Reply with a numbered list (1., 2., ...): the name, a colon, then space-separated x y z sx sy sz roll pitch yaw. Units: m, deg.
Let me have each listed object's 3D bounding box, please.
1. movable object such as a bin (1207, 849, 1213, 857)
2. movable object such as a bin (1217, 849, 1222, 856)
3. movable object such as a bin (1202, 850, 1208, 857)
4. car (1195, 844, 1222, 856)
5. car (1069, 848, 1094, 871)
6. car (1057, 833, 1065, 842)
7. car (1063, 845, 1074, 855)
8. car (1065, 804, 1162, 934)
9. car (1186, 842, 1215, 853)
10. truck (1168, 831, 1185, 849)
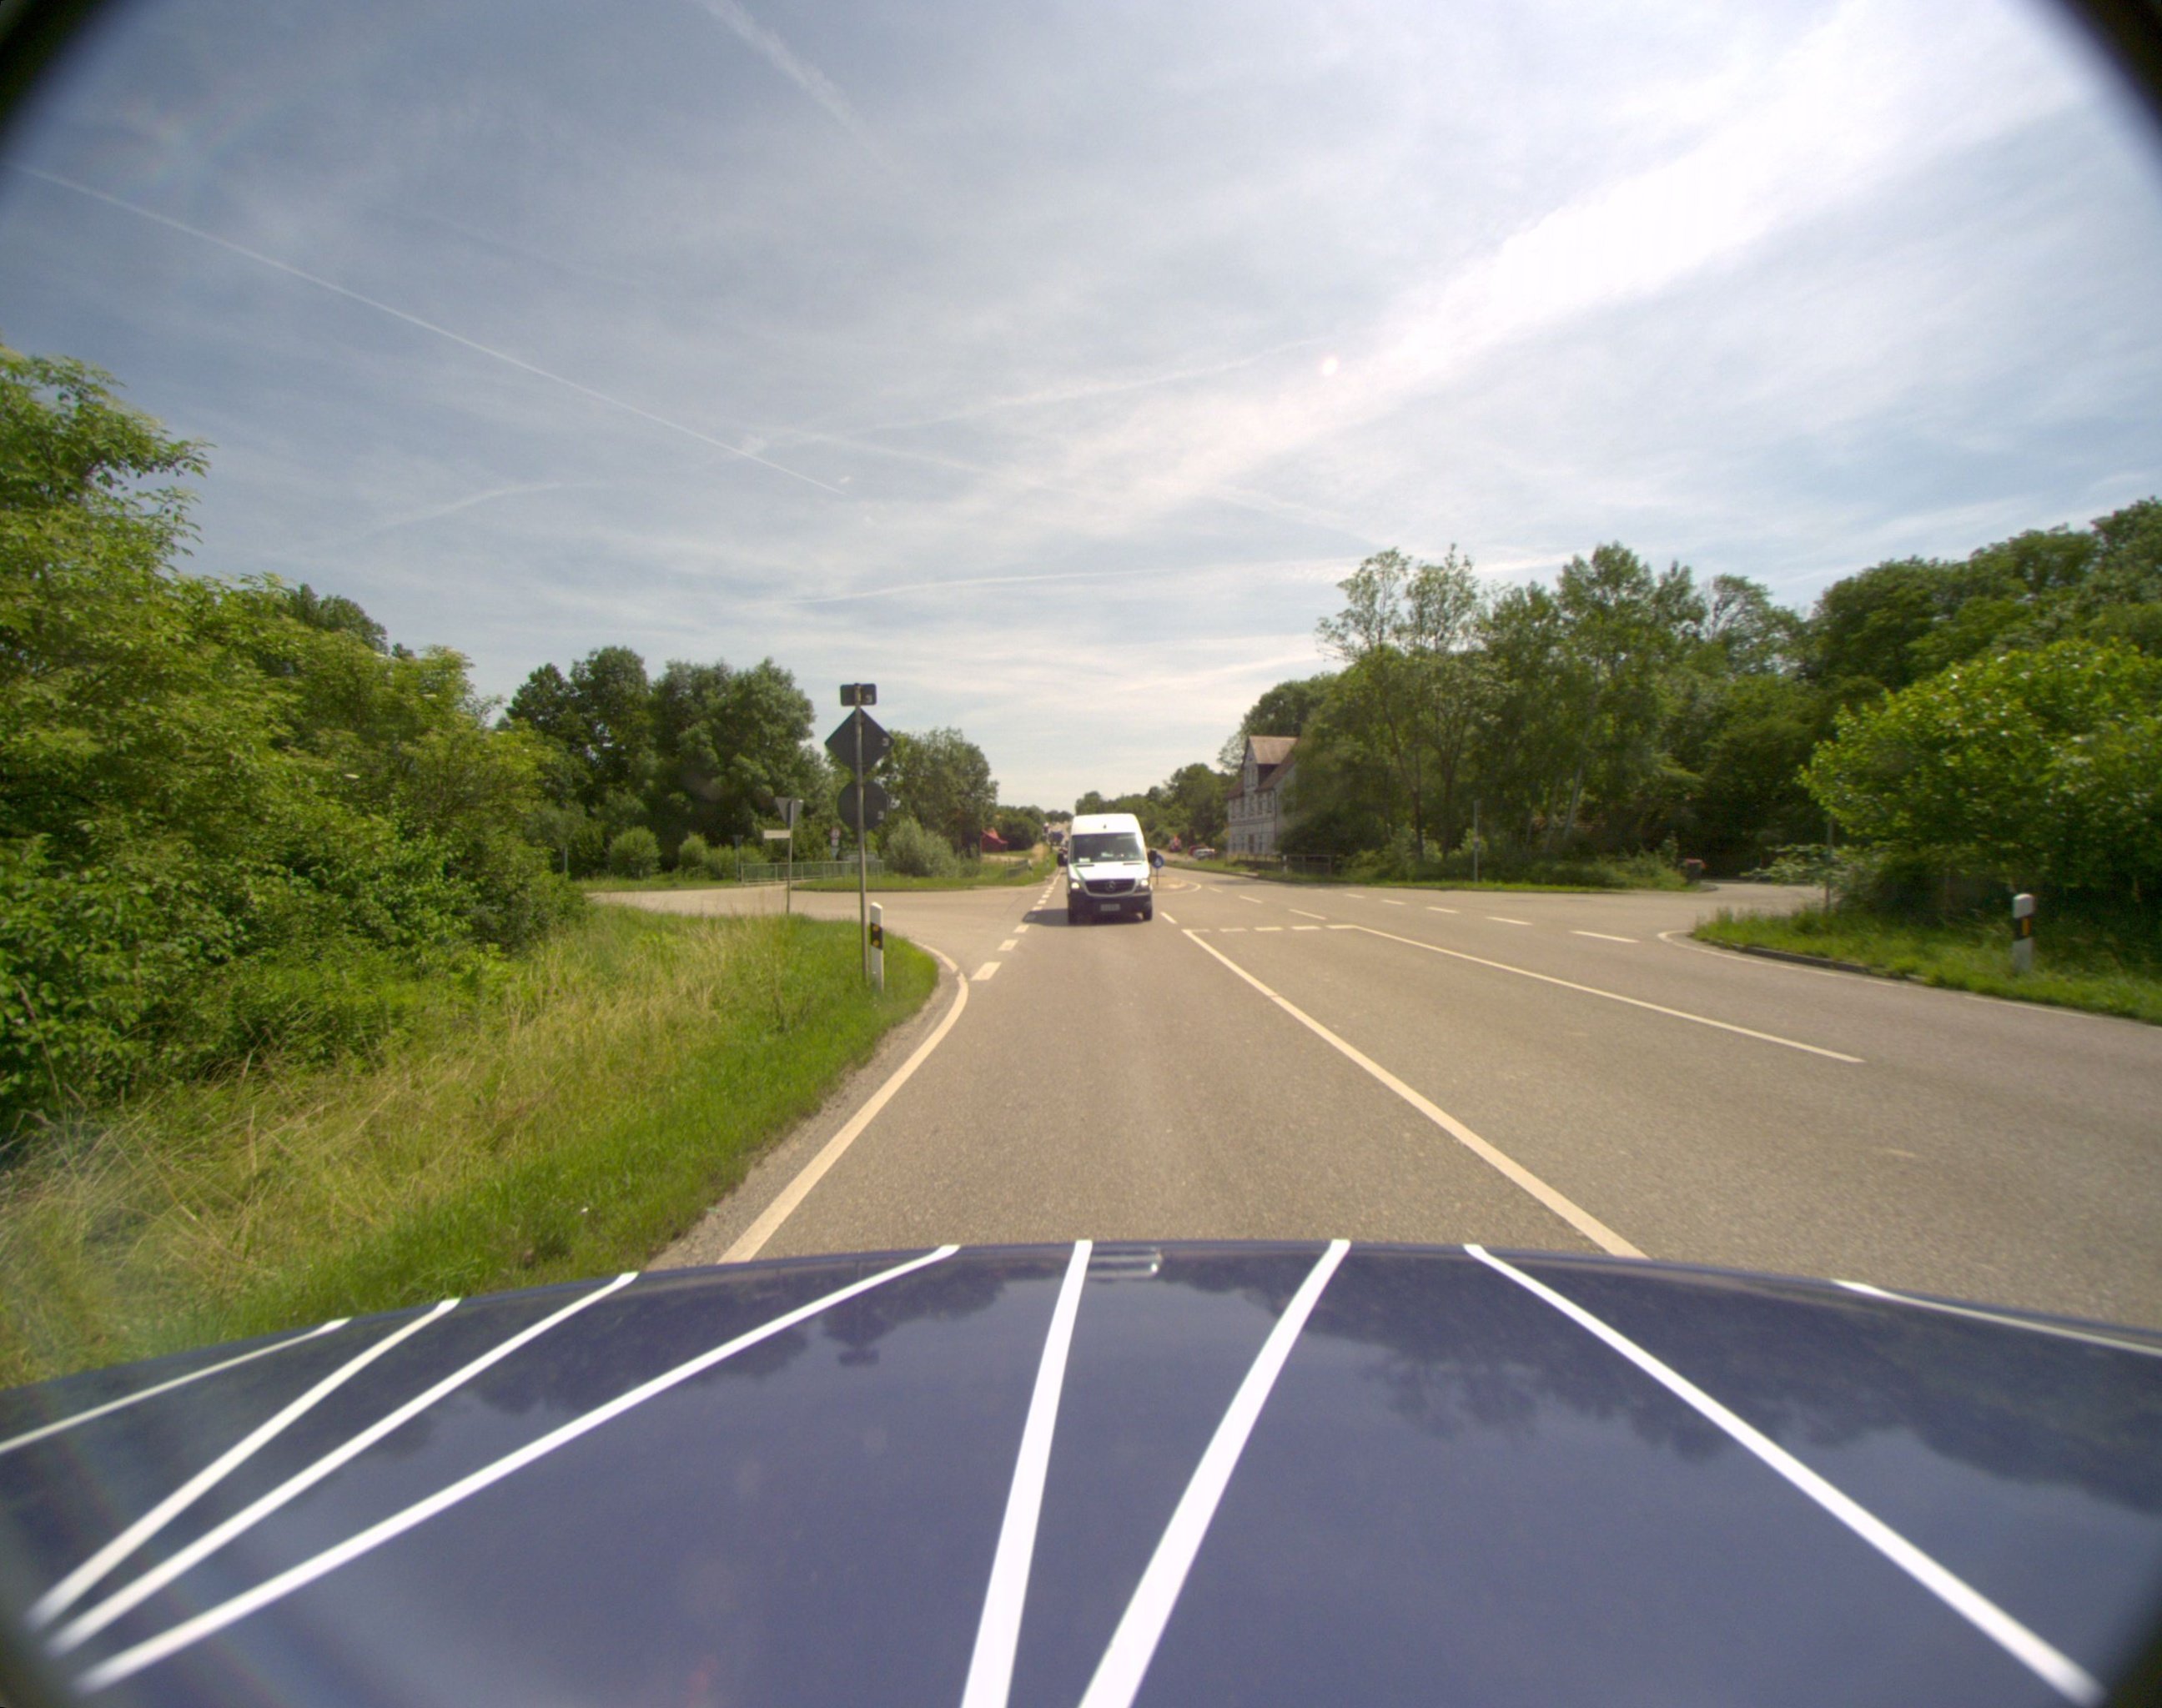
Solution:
1. movable object such as a bin: 17.210 -0.106 101.334 0.505 0.964 0.654 -2 3 -9
2. movable object such as a bin: 18.492 -0.177 101.517 0.505 0.971 0.654 -2 3 -9
3. movable object such as a bin: 16.534 -0.047 101.315 0.505 0.931 0.654 -2 3 -9
4. car: 17.443 -0.548 103.947 3.387 1.457 1.609 -2 2 -7
5. car: -0.010 0.427 57.842 1.848 1.692 4.242 0 0 -1
6. car: -5.348 -4.439 203.589 1.999 2.166 3.999 -2 2 0
7. car: -2.231 -0.778 137.263 1.849 1.693 4.239 -1 3 -3
8. car: 0.635 0.270 18.515 1.961 2.656 5.679 -1 1 -1
9. car: 17.933 -0.984 114.156 4.037 1.609 1.832 -2 2 0
10. truck: 16.939 -2.495 135.036 2.031 2.947 6.771 -2 2 0
